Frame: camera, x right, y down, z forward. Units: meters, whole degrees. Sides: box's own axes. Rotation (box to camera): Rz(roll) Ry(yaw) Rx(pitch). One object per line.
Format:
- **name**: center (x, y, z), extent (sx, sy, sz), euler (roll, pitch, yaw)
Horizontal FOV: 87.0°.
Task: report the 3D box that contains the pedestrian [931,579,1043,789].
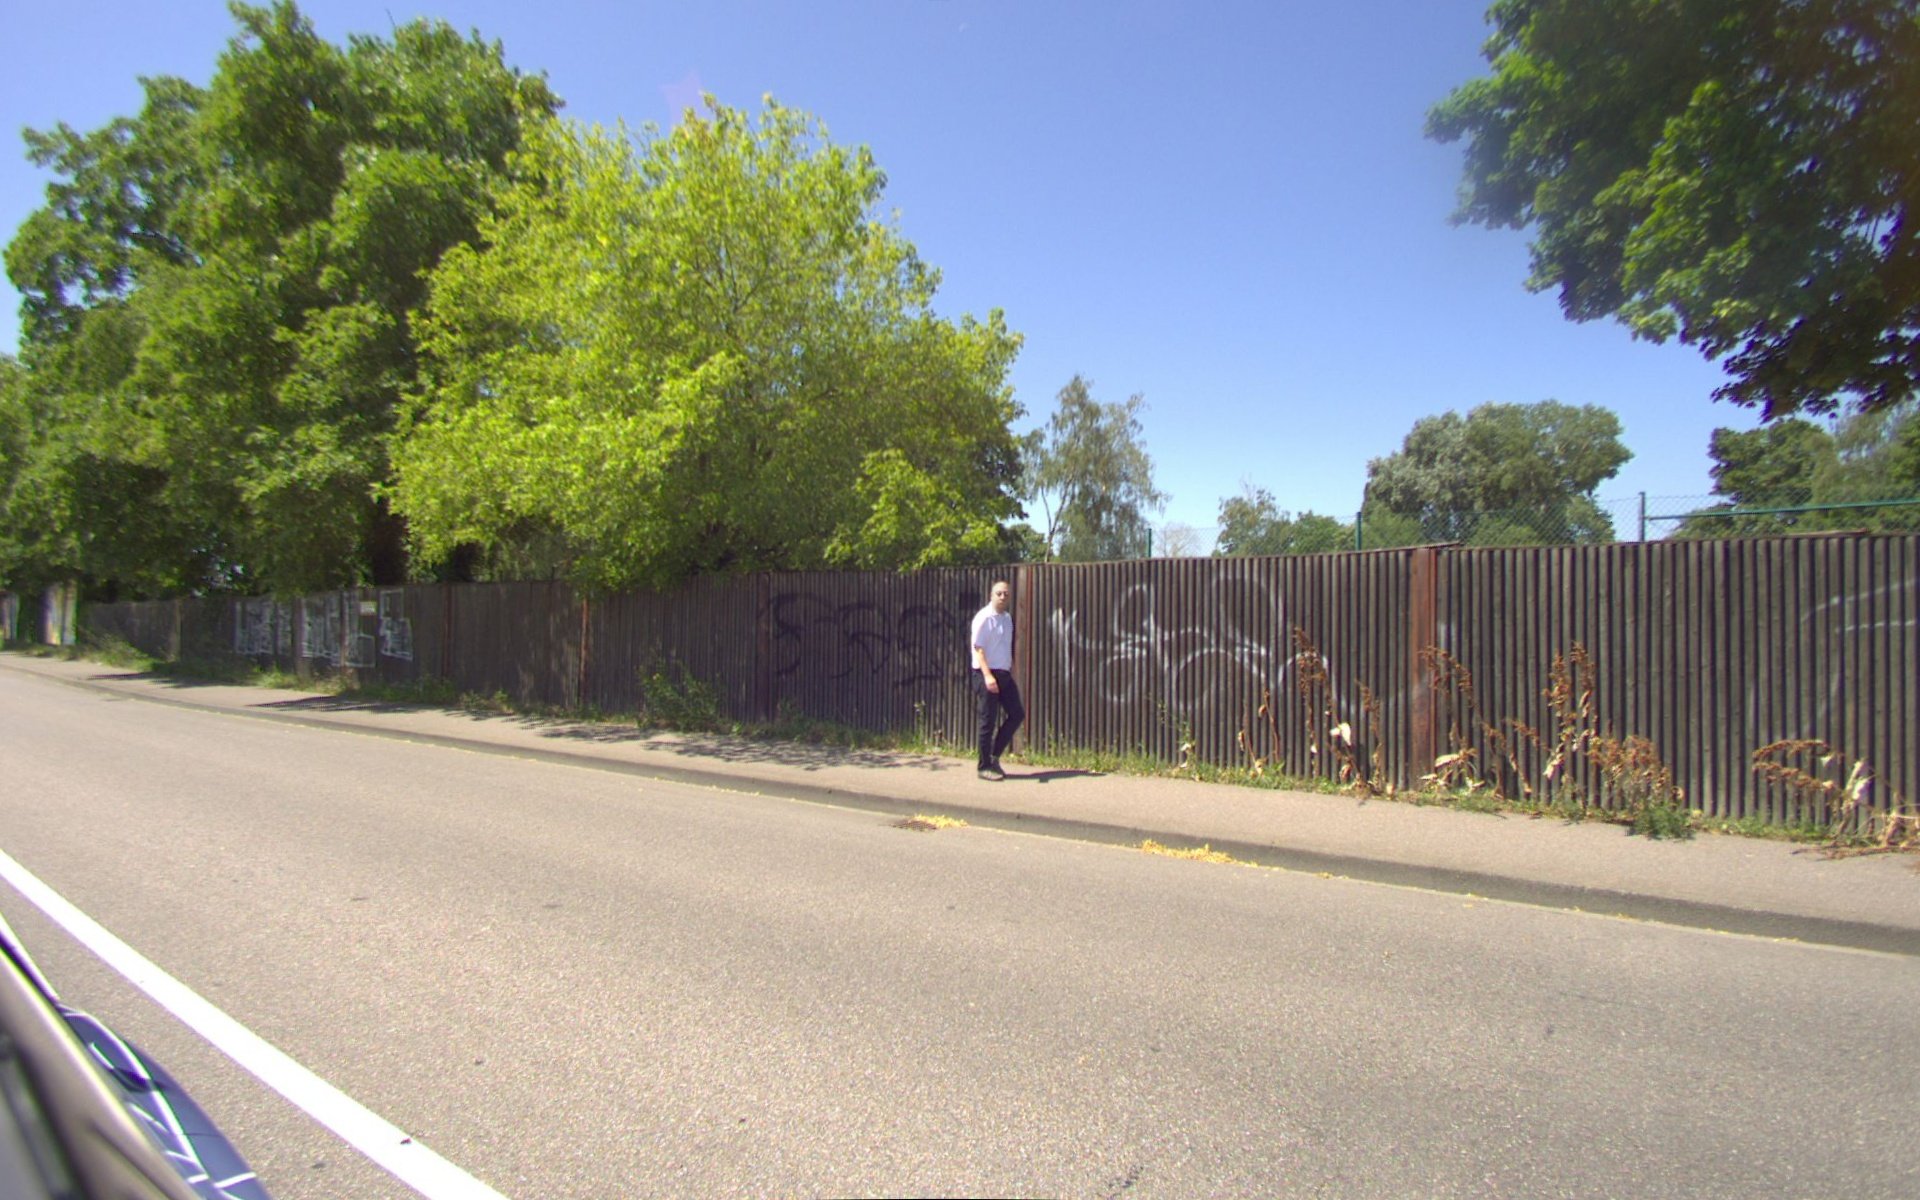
- **pedestrian**: center (0.249, 0.736, 9.366), extent (0.850, 1.838, 0.586), euler (-1, -1, 41)
